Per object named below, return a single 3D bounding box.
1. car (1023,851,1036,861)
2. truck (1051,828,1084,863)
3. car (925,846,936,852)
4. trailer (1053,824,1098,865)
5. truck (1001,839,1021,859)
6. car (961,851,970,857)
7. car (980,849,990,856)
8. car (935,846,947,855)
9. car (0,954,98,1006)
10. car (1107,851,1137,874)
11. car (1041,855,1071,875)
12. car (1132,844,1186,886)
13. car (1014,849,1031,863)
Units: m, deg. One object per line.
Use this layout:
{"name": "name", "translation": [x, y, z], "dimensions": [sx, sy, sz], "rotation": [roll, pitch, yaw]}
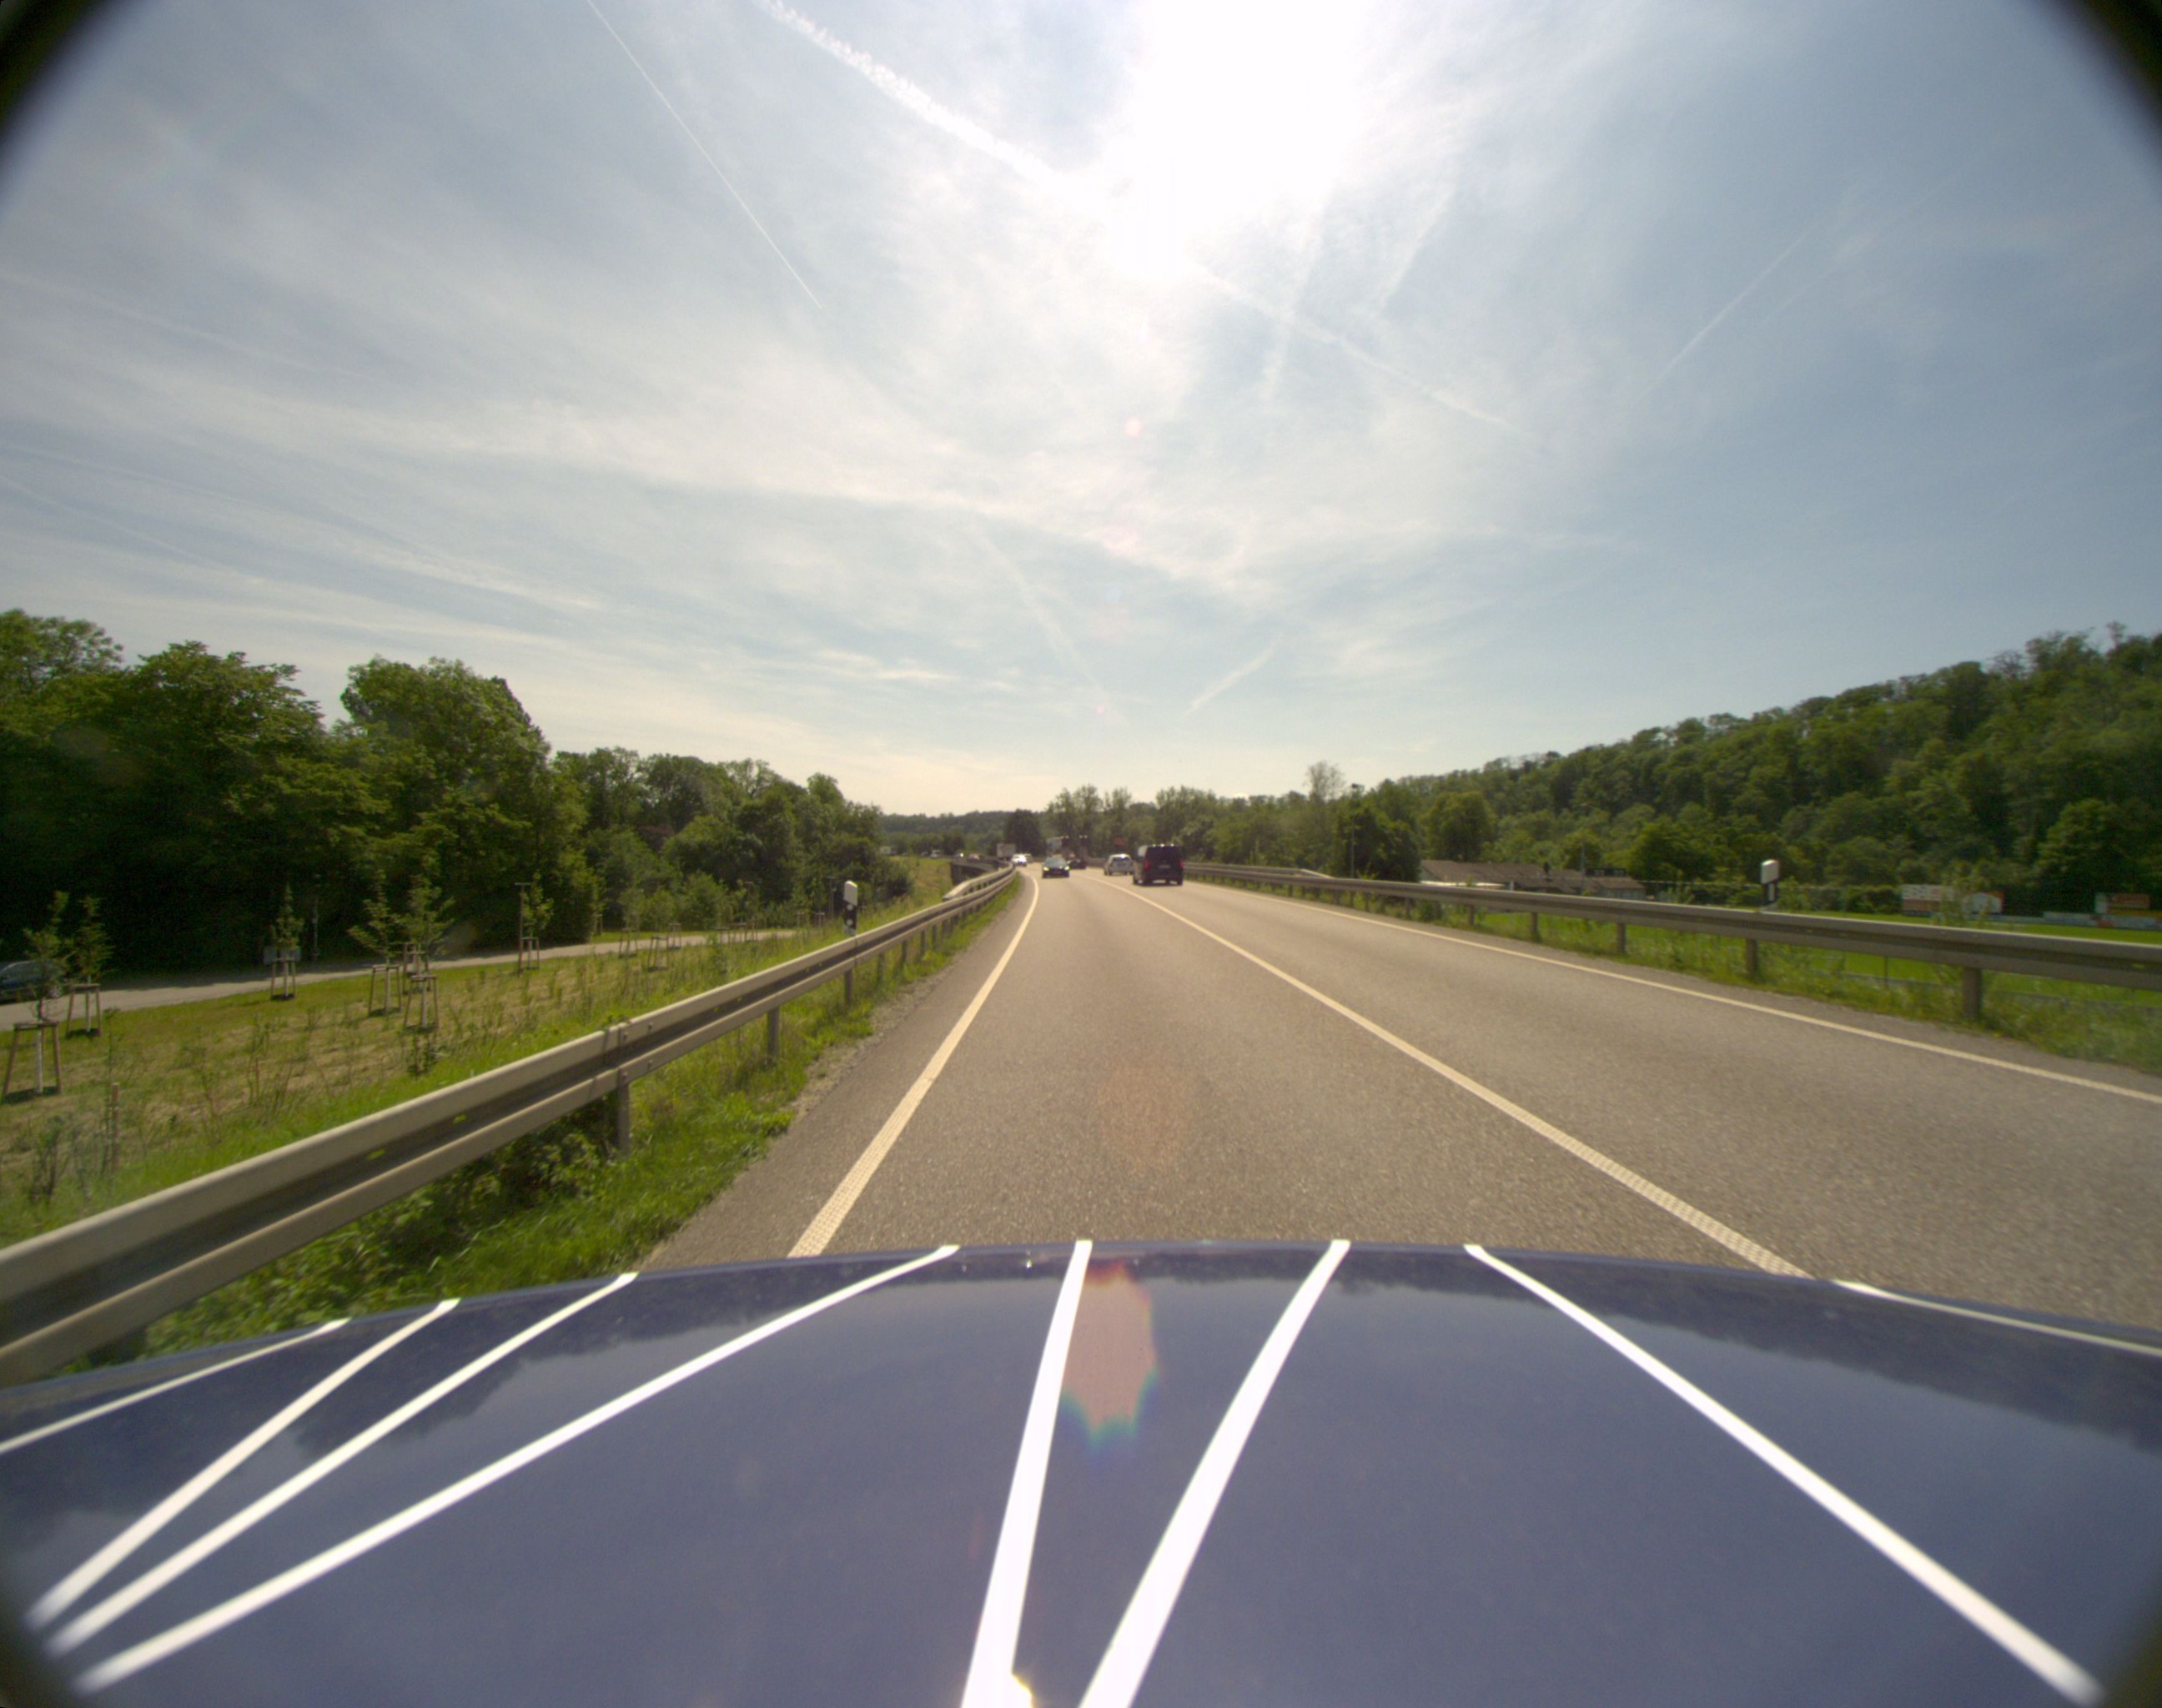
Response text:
{"name": "car", "translation": [-8.788, 0.343, 129.702], "dimensions": [1.764, 1.503, 3.995], "rotation": [-2, 2, -11]}
{"name": "truck", "translation": [-1.660, -1.020, 89.465], "dimensions": [3.128, 3.935, 6.617], "rotation": [-1, 1, -6]}
{"name": "car", "translation": [-50.270, -1.708, 253.073], "dimensions": [1.862, 1.788, 4.964], "rotation": [-3, 2, -33]}
{"name": "trailer", "translation": [-0.826, -0.988, 82.115], "dimensions": [3.128, 3.957, 15.345], "rotation": [-1, 1, -6]}
{"name": "truck", "translation": [-14.139, -0.947, 152.108], "dimensions": [2.924, 3.781, 9.698], "rotation": [-2, 0, -11]}
{"name": "car", "translation": [-32.201, -0.049, 211.280], "dimensions": [1.728, 1.427, 4.609], "rotation": [-2, 1, -19]}
{"name": "car", "translation": [-23.800, -0.393, 187.925], "dimensions": [1.727, 1.474, 4.563], "rotation": [-2, 1, -15]}
{"name": "car", "translation": [-44.382, -1.150, 241.445], "dimensions": [2.189, 2.545, 5.783], "rotation": [-3, 2, -27]}
{"name": "car", "translation": [-44.022, 5.212, 31.255], "dimensions": [1.863, 1.672, 4.197], "rotation": [2, -1, -7]}
{"name": "car", "translation": [2.884, 0.582, 54.464], "dimensions": [1.773, 1.485, 4.169], "rotation": [-2, 1, -2]}
{"name": "car", "translation": [-1.800, 0.762, 53.309], "dimensions": [1.981, 1.333, 3.999], "rotation": [-2, 0, -4]}
{"name": "car", "translation": [3.710, 0.474, 37.068], "dimensions": [1.927, 1.849, 5.174], "rotation": [-2, 0, -1]}
{"name": "car", "translation": [-8.028, 0.258, 103.891], "dimensions": [1.981, 1.779, 3.996], "rotation": [-2, 2, -7]}
